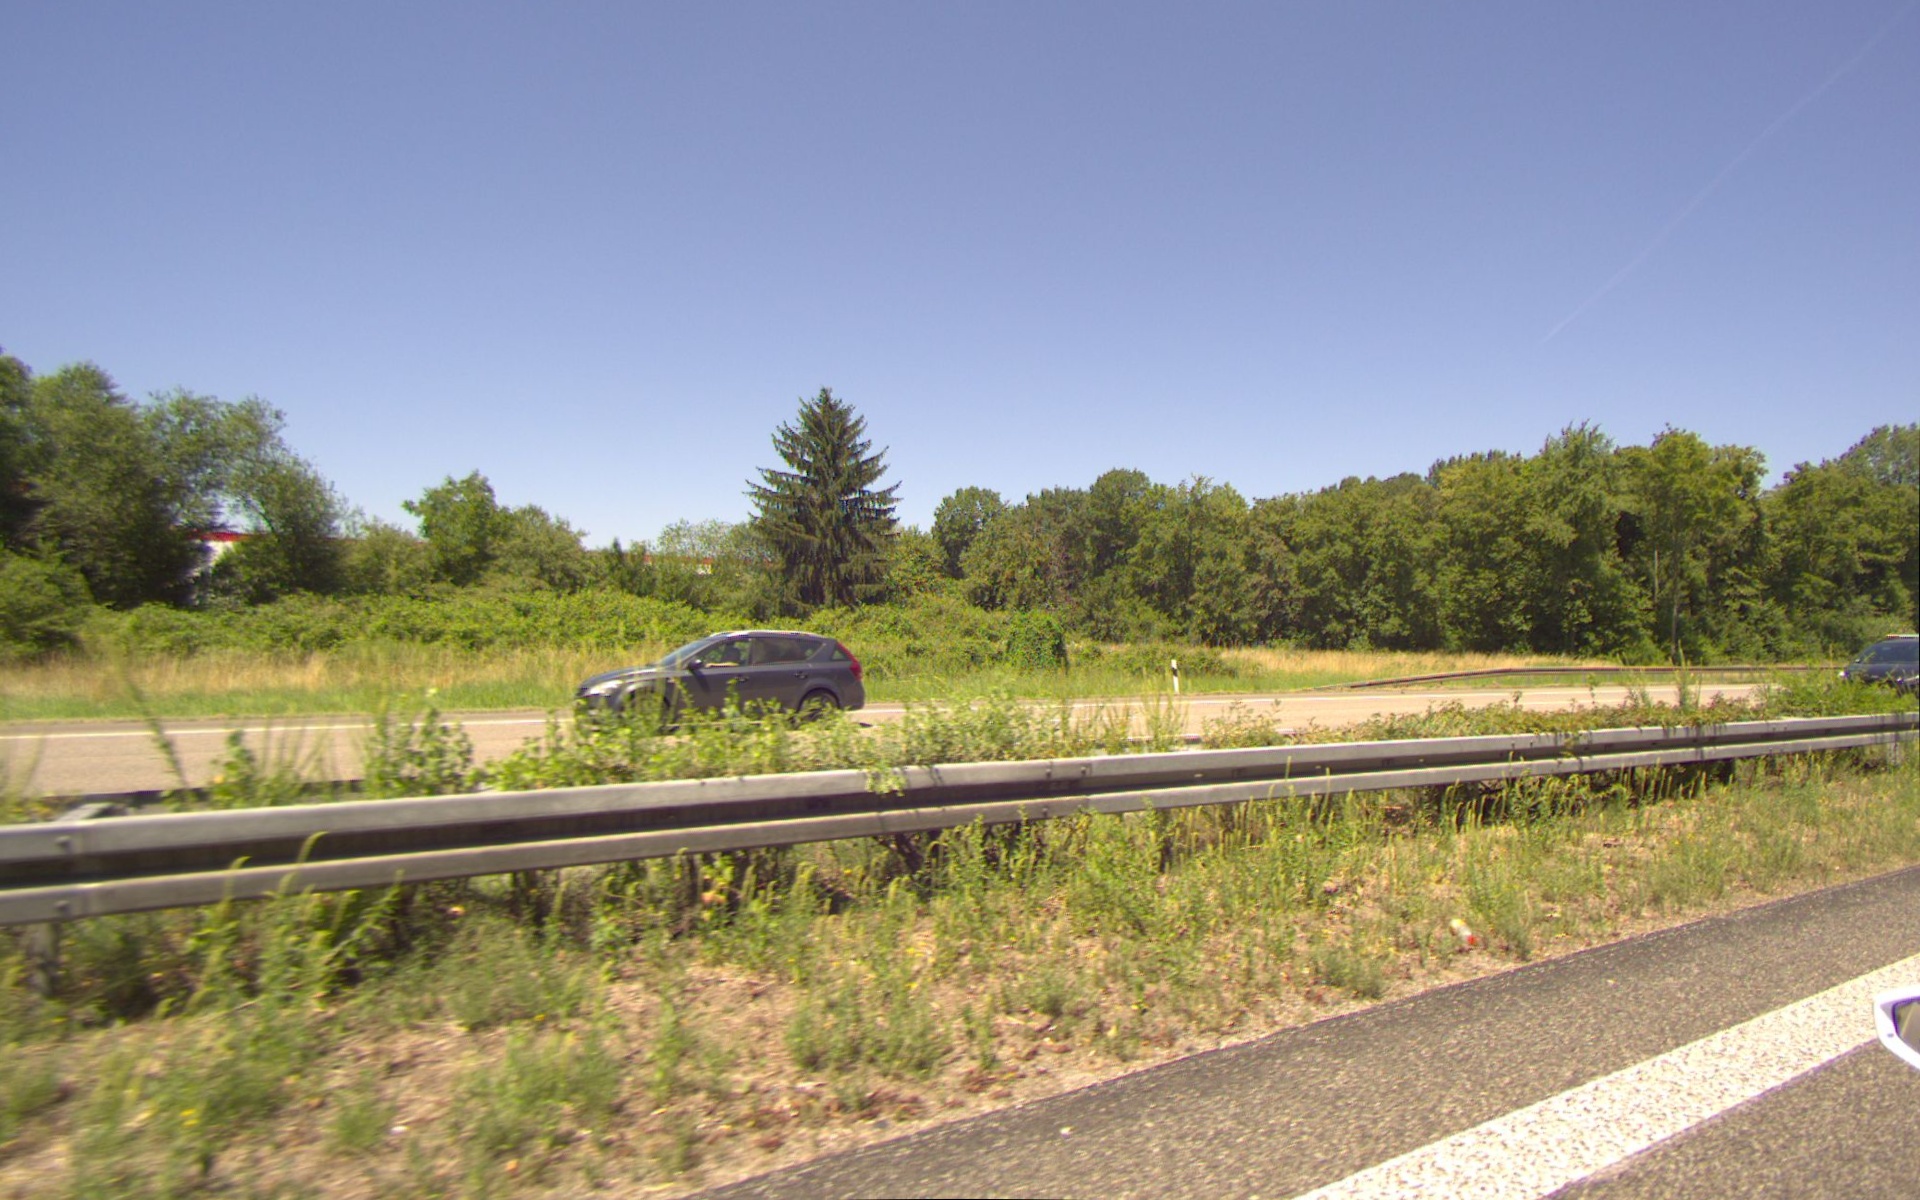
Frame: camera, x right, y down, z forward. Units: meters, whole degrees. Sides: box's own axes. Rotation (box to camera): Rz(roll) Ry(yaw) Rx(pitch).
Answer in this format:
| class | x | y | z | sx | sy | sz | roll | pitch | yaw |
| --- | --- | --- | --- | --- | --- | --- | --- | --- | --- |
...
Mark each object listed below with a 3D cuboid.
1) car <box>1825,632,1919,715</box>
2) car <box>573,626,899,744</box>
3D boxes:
| class | x | y | z | sx | sy | sz | roll | pitch | yaw |
| --- | --- | --- | --- | --- | --- | --- | --- | --- | --- |
| car | 21.936 | 1.647 | 23.148 | 4.192 | 1.718 | 1.790 | 2 | 0 | -31 |
| car | -3.410 | 1.232 | 15.625 | 4.625 | 1.552 | 1.790 | 2 | 0 | -31 |
